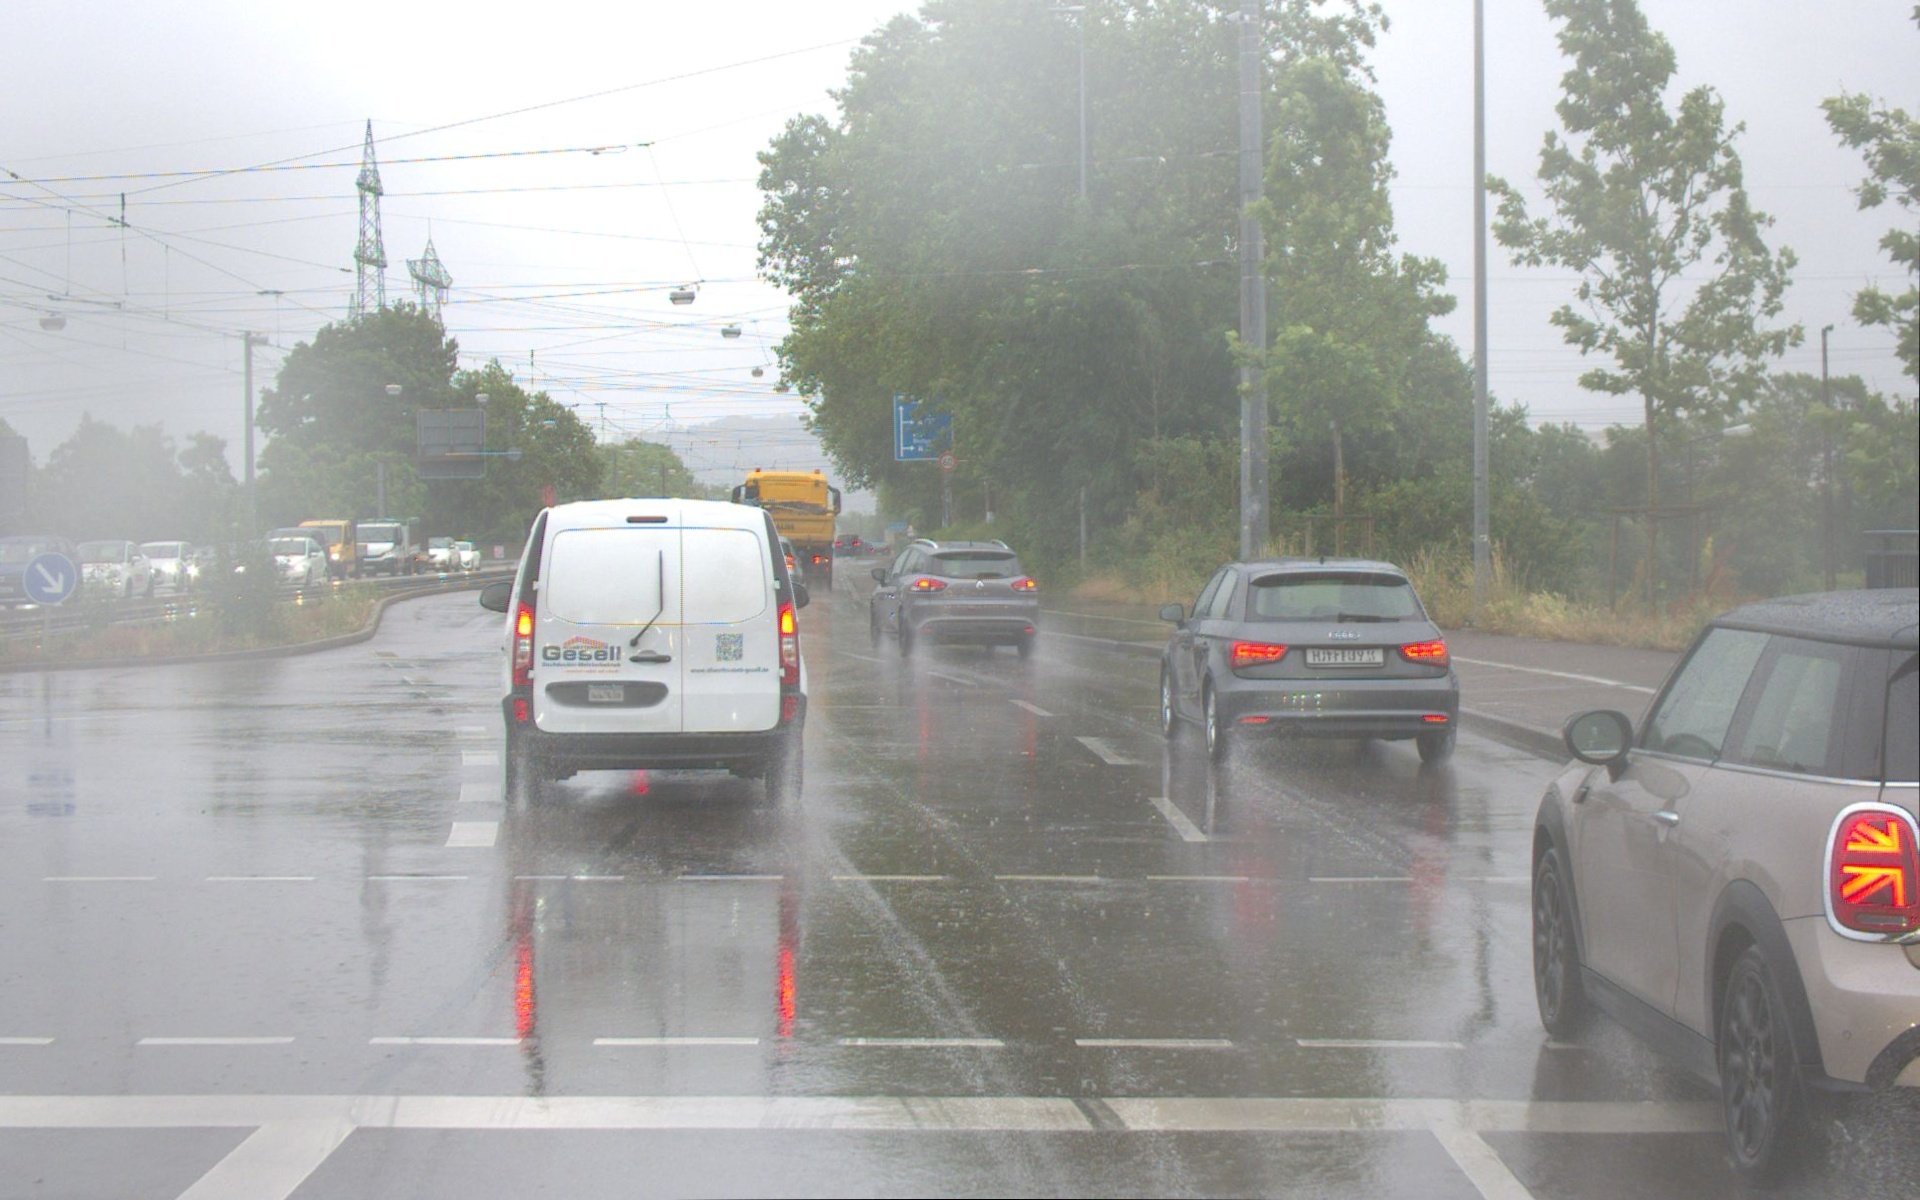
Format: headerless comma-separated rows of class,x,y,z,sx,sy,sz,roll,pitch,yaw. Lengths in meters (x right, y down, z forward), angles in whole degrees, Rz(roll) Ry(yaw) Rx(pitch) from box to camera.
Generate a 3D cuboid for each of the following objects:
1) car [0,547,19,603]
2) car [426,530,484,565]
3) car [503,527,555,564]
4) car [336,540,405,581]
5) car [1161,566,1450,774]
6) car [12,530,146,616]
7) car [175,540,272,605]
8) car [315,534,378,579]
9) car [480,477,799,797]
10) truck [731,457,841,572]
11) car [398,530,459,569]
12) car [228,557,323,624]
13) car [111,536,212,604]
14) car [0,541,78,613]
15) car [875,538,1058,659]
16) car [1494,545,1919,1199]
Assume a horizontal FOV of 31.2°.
car,-25.964,-0.662,89.492,1.770,1.482,3.840,1,0,2
car,-24.094,-2.495,164.121,1.993,1.581,4.000,1,0,2
car,-21.574,-2.721,172.216,1.993,1.751,4.000,1,0,2
car,-24.260,-1.619,141.585,1.993,1.657,4.000,1,0,2
car,2.372,0.445,24.363,1.629,1.340,3.624,1,0,-1
car,-21.301,-0.639,83.282,1.994,2.007,3.999,1,0,4
car,-20.907,-0.773,97.743,1.824,1.801,3.769,1,0,2
car,-23.965,-1.685,134.351,1.718,1.698,3.477,1,0,2
car,-1.889,0.190,21.244,1.566,1.782,4.000,0,0,0
truck,-4.553,-2.154,88.923,2.632,2.807,7.146,1,0,-4
car,-24.147,-2.288,156.386,1.993,1.702,4.000,1,0,2
car,-21.215,-0.306,106.723,1.993,2.007,4.000,1,0,2
car,-24.264,-0.905,104.604,1.993,2.007,4.000,1,0,2
car,-21.025,-0.513,76.382,1.763,1.544,3.680,1,0,2
car,0.036,-0.049,43.570,1.859,1.424,3.808,1,1,-7
car,2.626,0.619,9.373,1.713,1.503,3.624,1,1,-1
